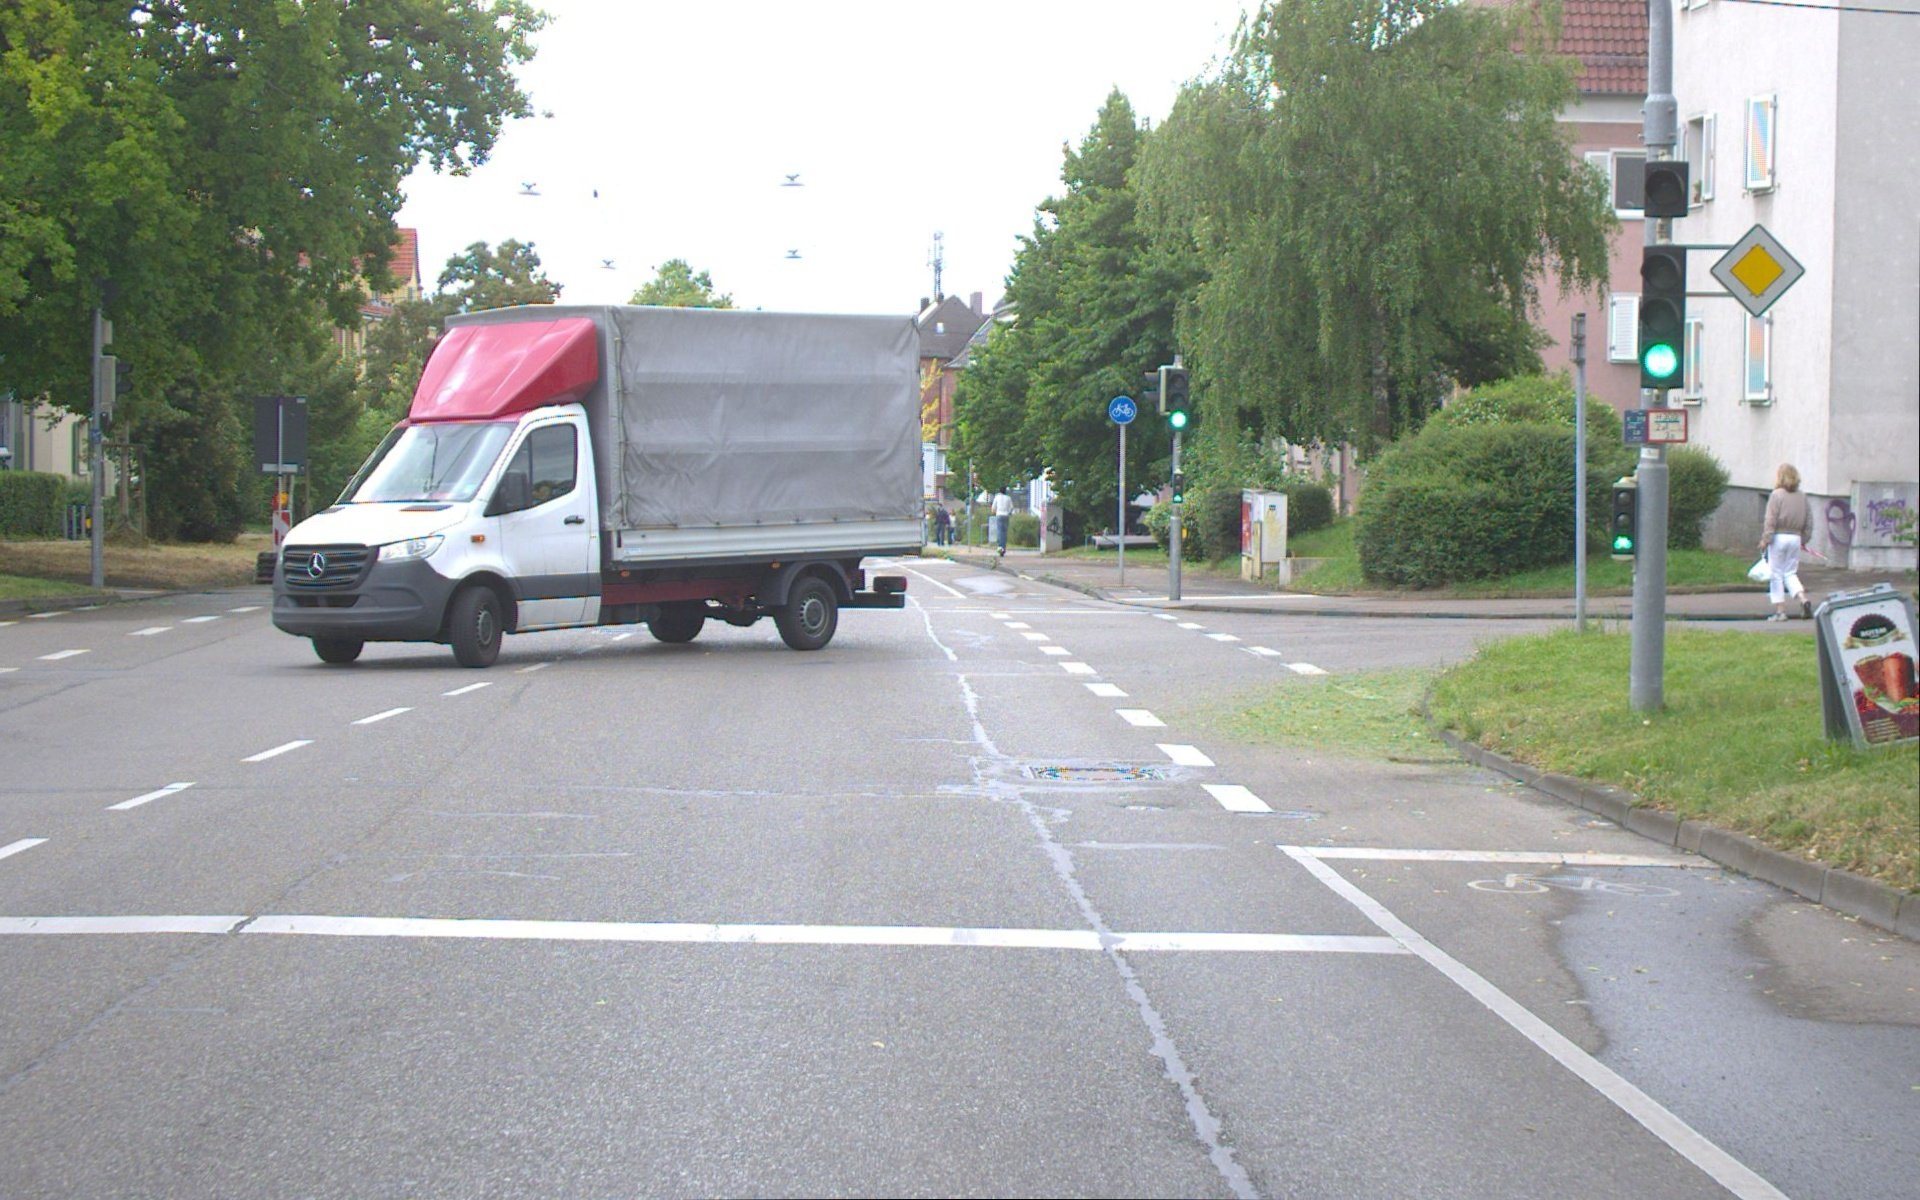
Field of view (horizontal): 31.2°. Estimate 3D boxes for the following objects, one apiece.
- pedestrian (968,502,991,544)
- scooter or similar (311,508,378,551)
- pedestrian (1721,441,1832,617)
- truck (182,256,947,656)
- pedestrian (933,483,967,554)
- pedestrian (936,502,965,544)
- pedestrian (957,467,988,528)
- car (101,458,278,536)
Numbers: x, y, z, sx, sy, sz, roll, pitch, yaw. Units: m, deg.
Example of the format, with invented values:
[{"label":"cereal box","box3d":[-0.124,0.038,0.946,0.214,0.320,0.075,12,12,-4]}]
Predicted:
[{"label":"pedestrian","box3d":[0.857,-3.339,149.692,0.921,1.804,1.102,1,1,-2]},{"label":"scooter or similar","box3d":[-16.249,-1.861,90.770,1.692,1.079,0.747,1,1,-10]},{"label":"pedestrian","box3d":[8.825,-0.774,37.185,0.747,1.848,0.955,-3,2,-16]},{"label":"truck","box3d":[-3.462,-1.273,31.907,2.538,3.295,7.234,2,2,40]},{"label":"pedestrian","box3d":[-0.319,-2.539,107.312,0.989,2.199,0.938,1,1,1]},{"label":"pedestrian","box3d":[-0.404,-3.366,149.607,1.200,1.804,1.301,1,1,-1]},{"label":"pedestrian","box3d":[0.458,-3.724,124.833,0.989,2.199,0.938,1,1,-4]},{"label":"car","box3d":[-16.704,-2.235,74.653,3.448,1.590,2.000,1,1,-4]}]
